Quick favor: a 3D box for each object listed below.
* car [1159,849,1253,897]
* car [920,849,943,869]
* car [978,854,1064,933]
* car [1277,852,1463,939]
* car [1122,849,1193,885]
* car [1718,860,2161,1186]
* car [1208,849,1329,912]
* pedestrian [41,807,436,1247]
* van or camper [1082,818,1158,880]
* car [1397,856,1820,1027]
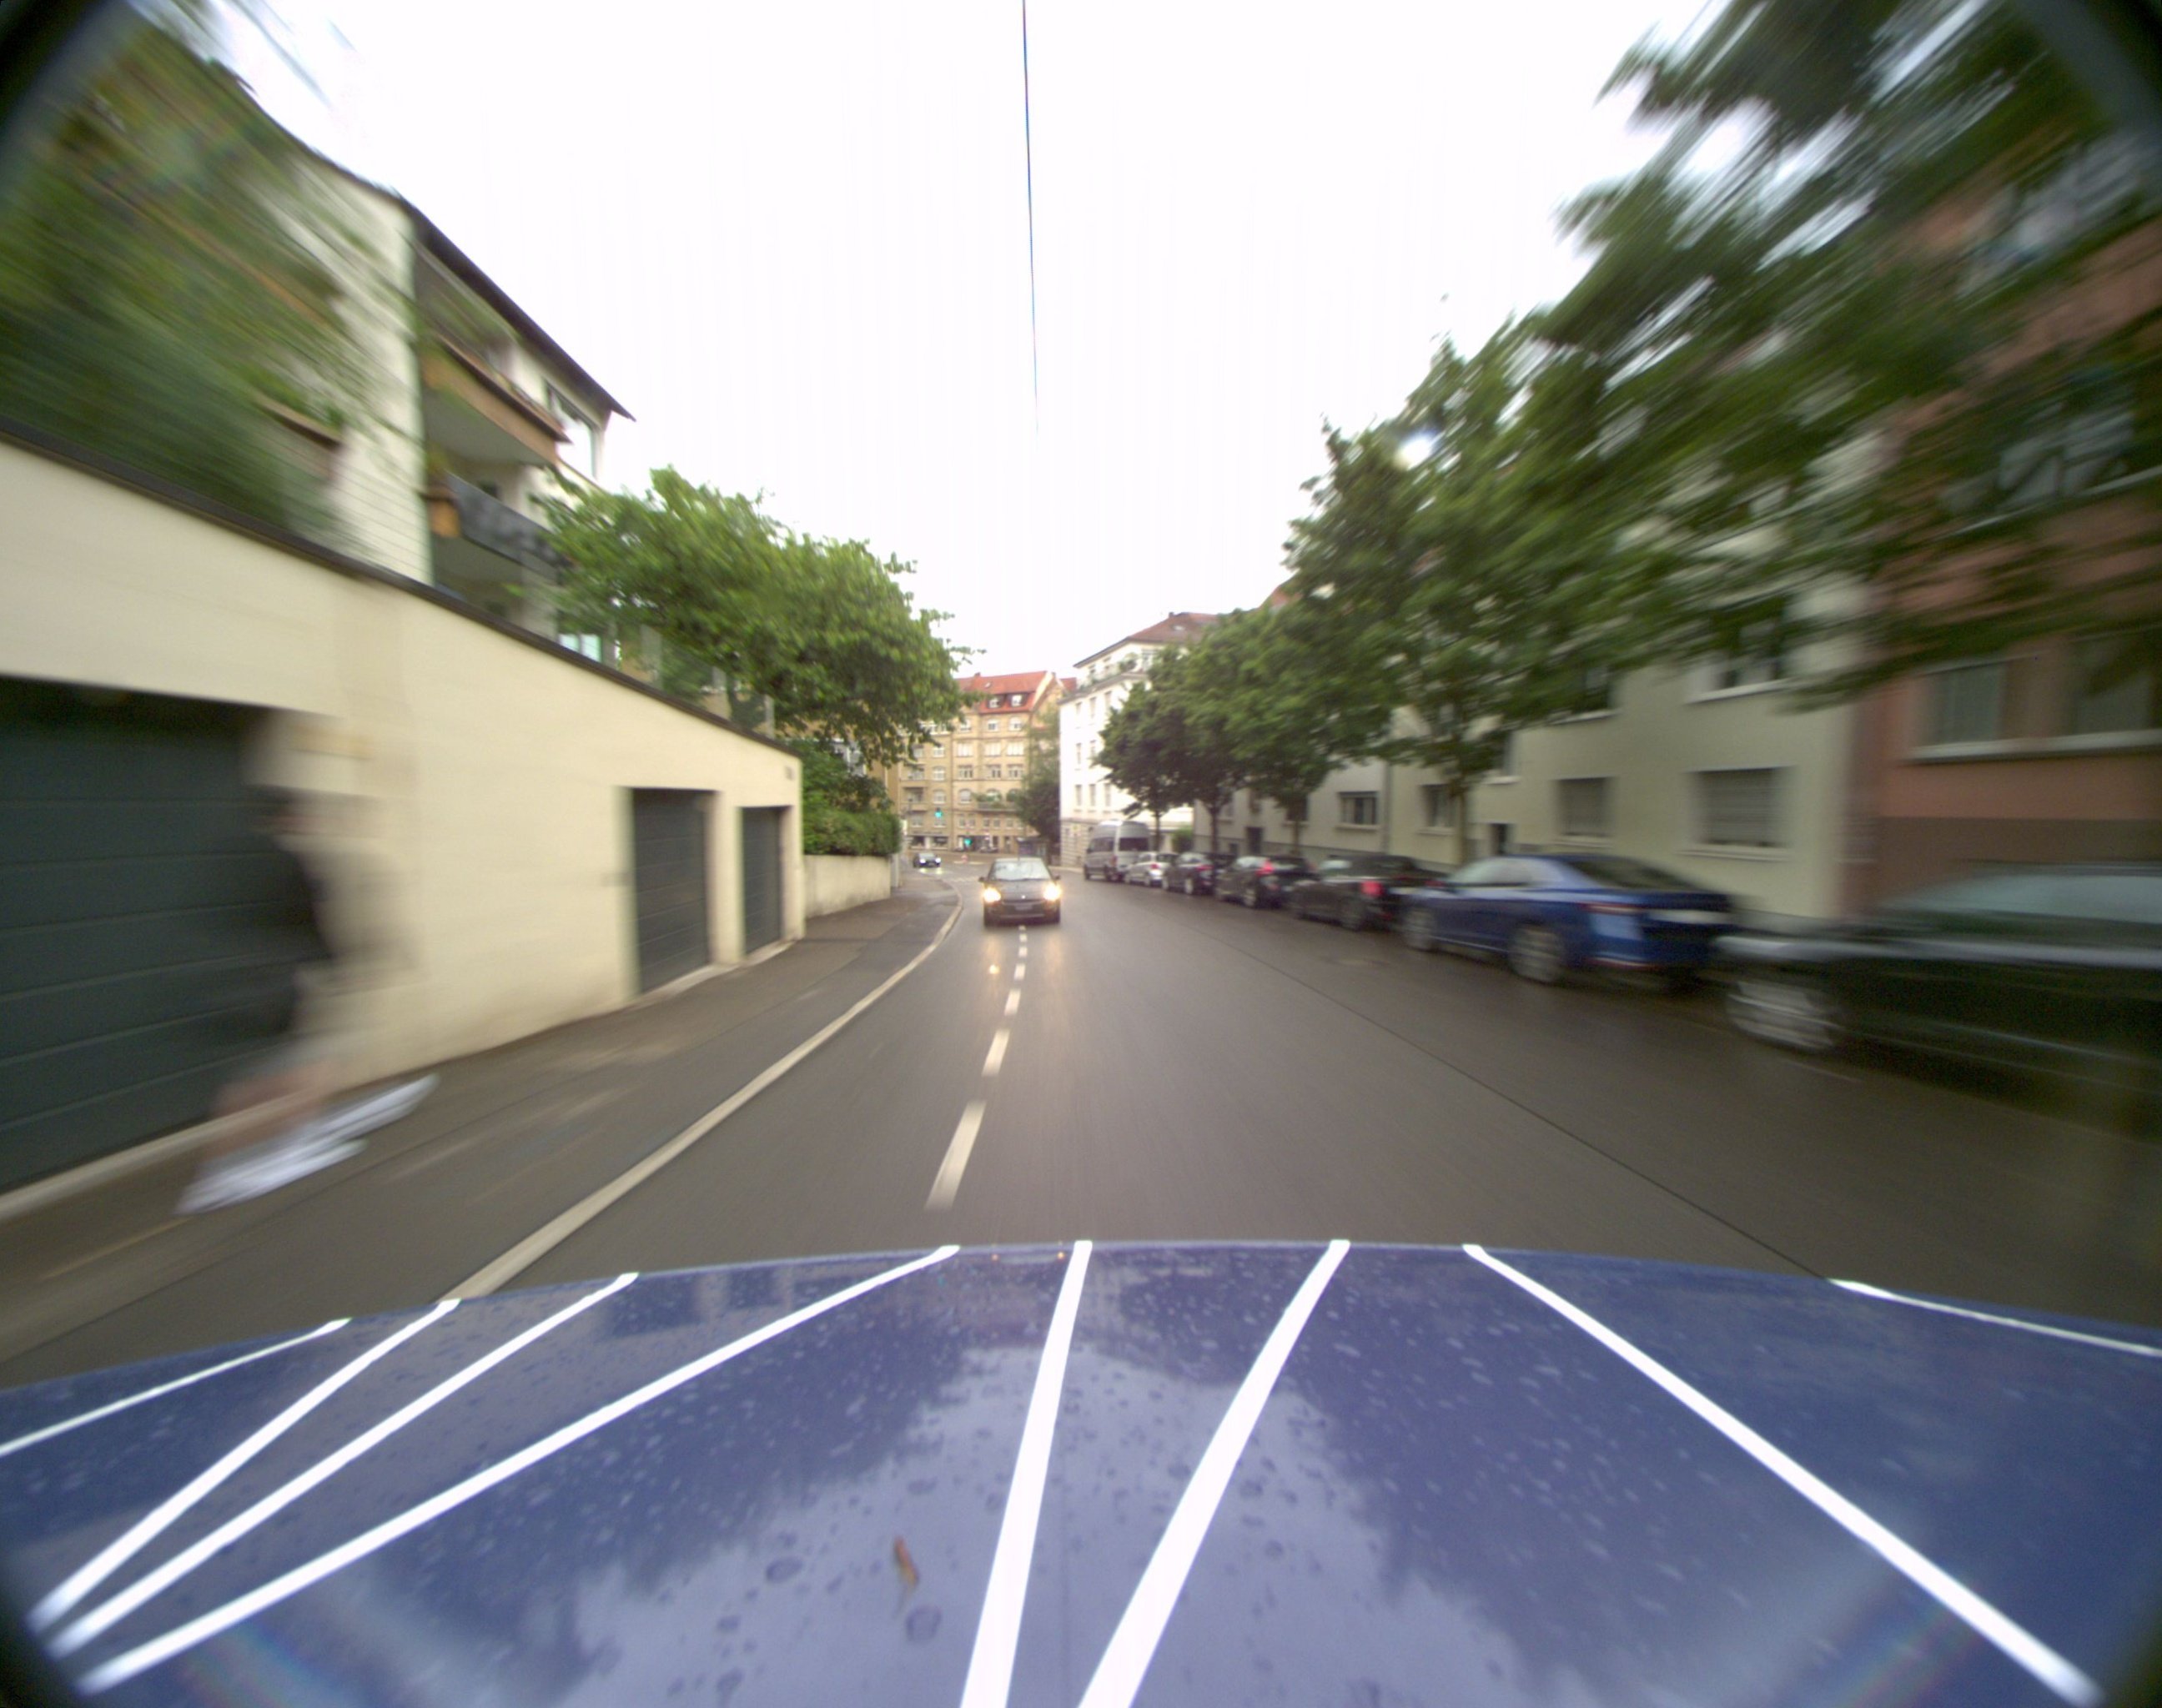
[{"bbox_3d":[4.197,0.591,26.328,1.793,1.484,4.493,0,1,-10],"label":"car"},{"bbox_3d":[-14.089,0.467,71.355,1.898,1.686,3.994,-3,2,-13],"label":"car"},{"bbox_3d":[-1.325,0.816,17.815,1.698,1.456,3.998,-4,2,-2],"label":"car"},{"bbox_3d":[5.617,0.712,15.448,1.792,1.484,4.358,0,1,-6],"label":"car"},{"bbox_3d":[3.142,0.487,32.083,1.592,1.401,4.041,-1,1,-16],"label":"car"},{"bbox_3d":[5.990,0.819,3.816,1.792,1.484,4.360,0,1,-3],"label":"car"},{"bbox_3d":[4.991,0.637,20.925,1.792,1.484,4.641,-1,1,-5],"label":"car"},{"bbox_3d":[-3.842,0.721,3.563,0.901,1.840,0.803,0,1,1],"label":"pedestrian"},{"bbox_3d":[1.803,-0.236,37.766,2.075,2.843,5.739,0,0,-15],"label":"van or camper"},{"bbox_3d":[5.824,0.804,9.359,1.792,1.484,4.861,0,1,-1],"label":"car"}]
